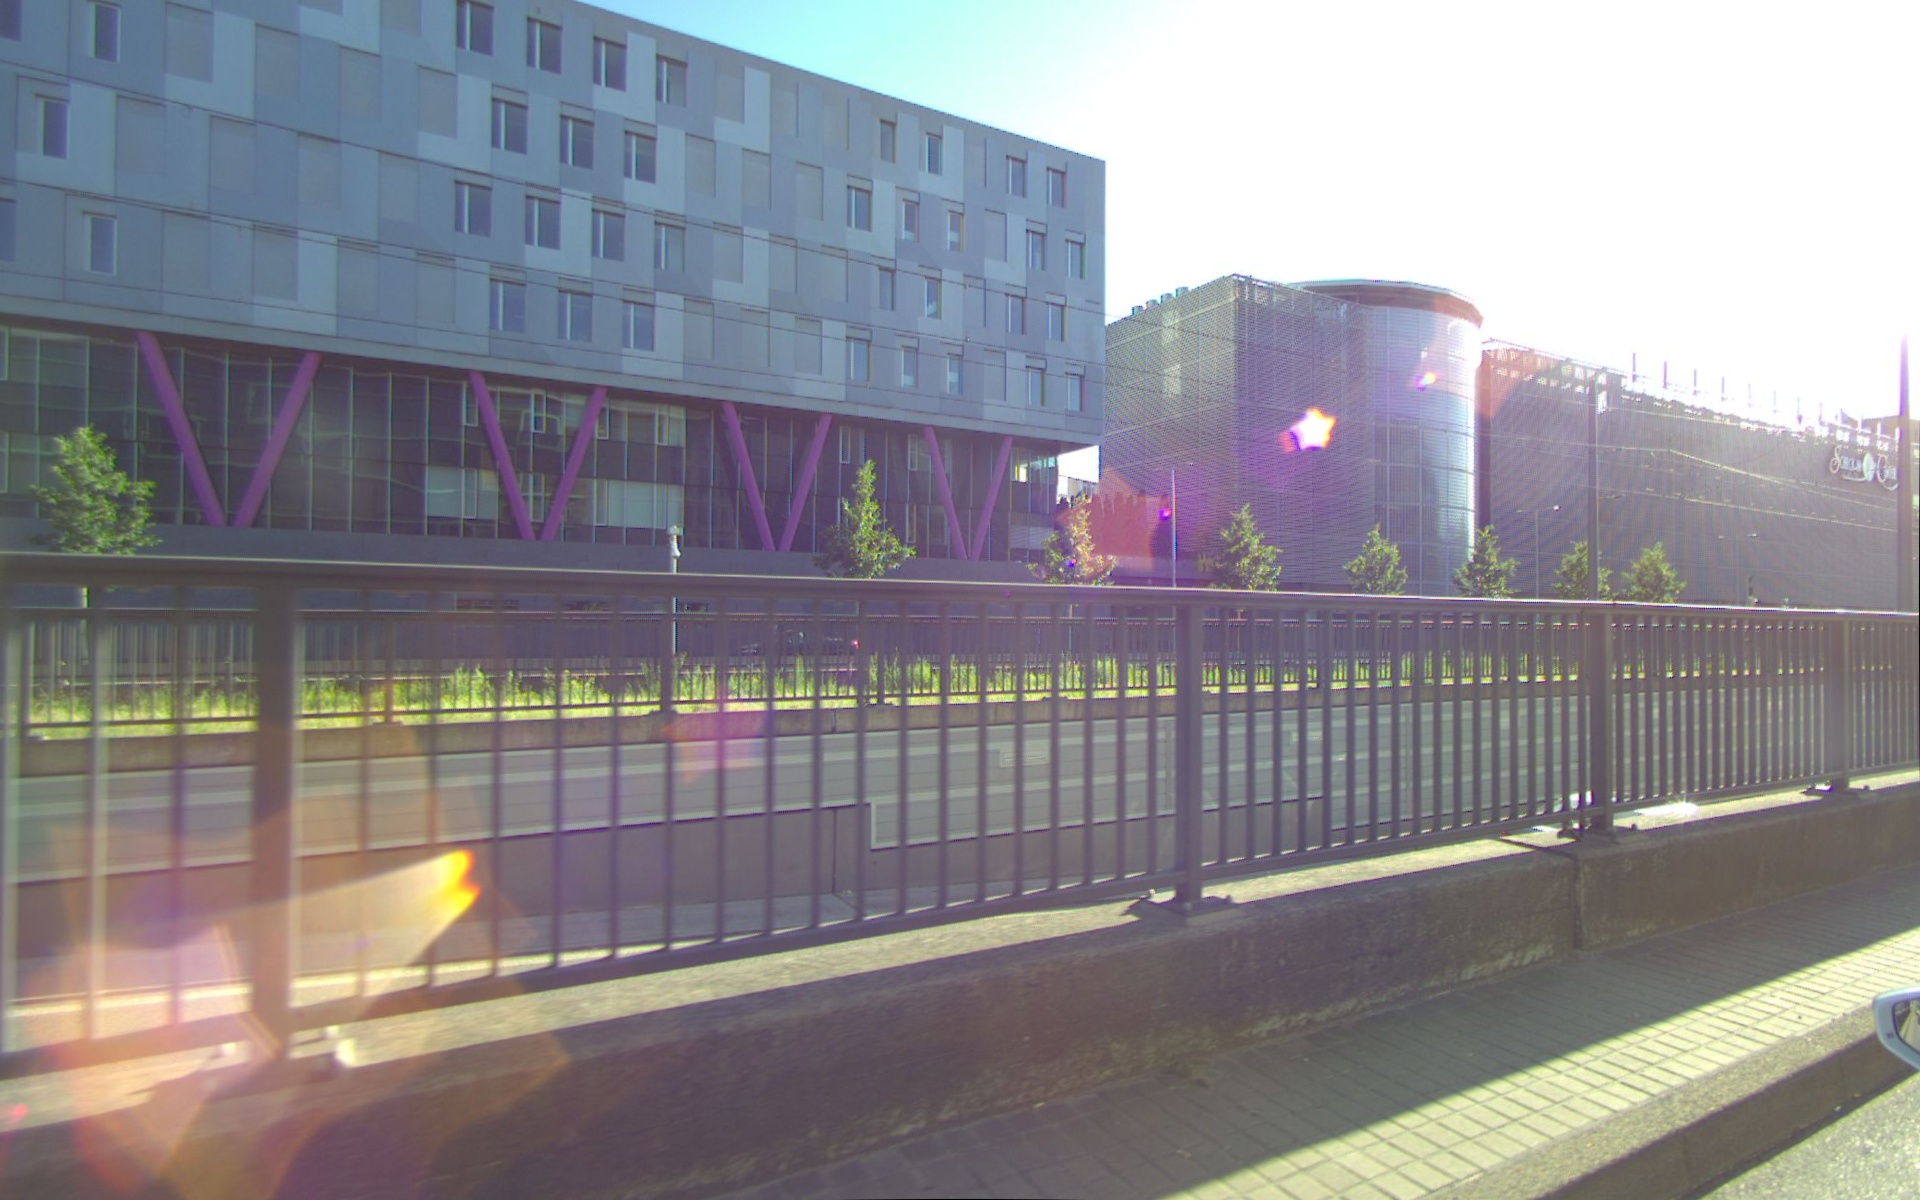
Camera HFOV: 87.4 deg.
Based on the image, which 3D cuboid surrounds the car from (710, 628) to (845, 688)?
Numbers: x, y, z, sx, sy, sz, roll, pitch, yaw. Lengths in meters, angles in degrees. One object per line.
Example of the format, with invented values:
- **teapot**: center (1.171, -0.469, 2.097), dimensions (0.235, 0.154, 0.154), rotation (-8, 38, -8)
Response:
- **car**: center (-5.998, 1.866, 33.088), dimensions (3.953, 1.863, 1.984), rotation (1, -2, -30)

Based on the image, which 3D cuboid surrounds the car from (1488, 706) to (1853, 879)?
- **car**: center (9.165, 2.302, 12.882), dimensions (4.848, 1.547, 1.792), rotation (1, 0, -27)
